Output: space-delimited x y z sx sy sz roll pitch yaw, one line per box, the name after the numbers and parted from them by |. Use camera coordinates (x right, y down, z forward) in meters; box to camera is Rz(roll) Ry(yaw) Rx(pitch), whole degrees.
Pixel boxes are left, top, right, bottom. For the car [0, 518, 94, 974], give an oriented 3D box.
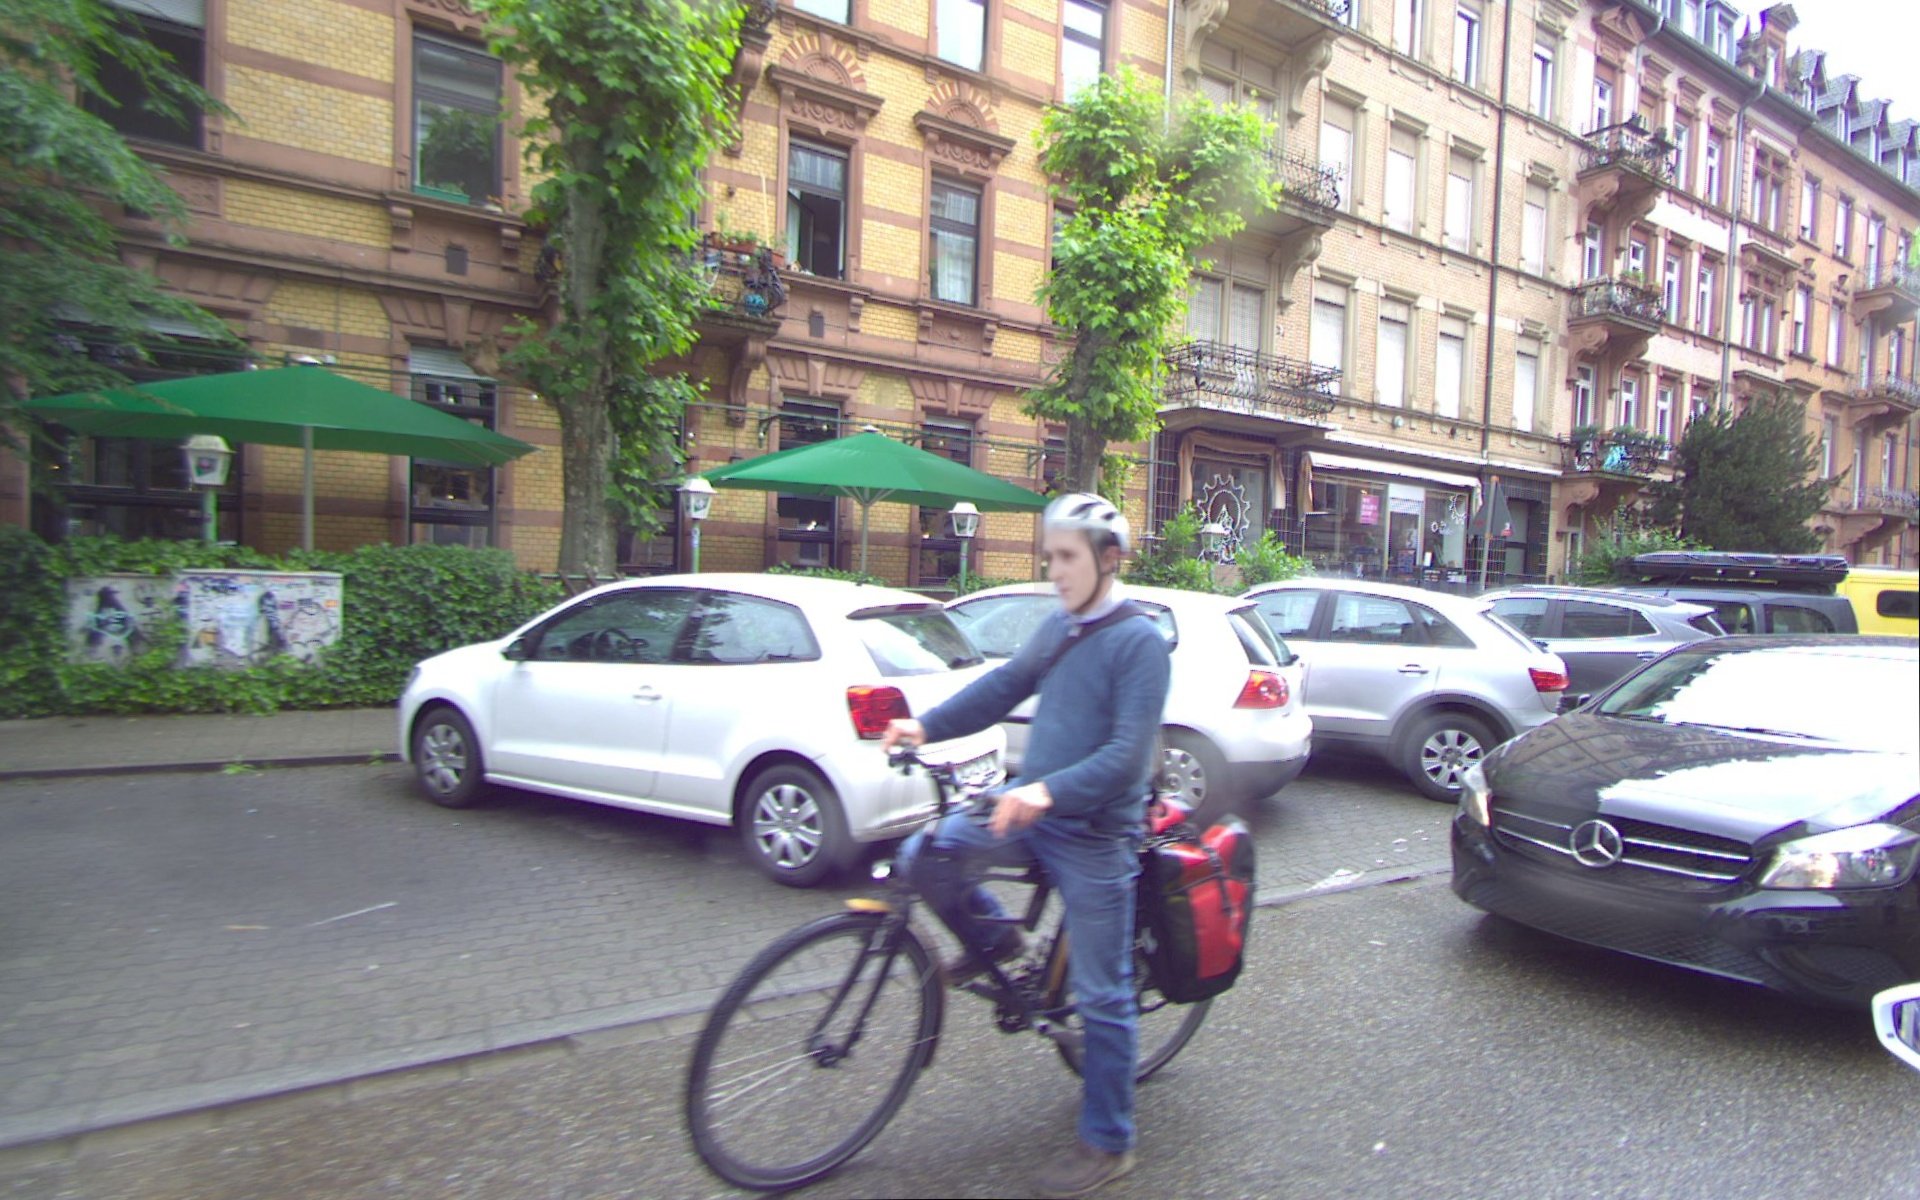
-5.603 0.344 3.626 4.373 1.584 1.999 4 1 23 | car

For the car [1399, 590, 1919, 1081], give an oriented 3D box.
4.241 0.842 4.960 4.093 1.513 1.786 4 -2 -32 | car

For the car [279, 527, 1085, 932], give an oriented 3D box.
-1.790 0.469 6.251 4.636 1.584 1.998 5 4 25 | car

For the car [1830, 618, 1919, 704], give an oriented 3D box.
18.306 1.160 17.879 3.929 1.455 1.780 3 1 31 | car

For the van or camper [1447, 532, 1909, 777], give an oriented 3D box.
8.108 0.504 11.909 4.009 2.269 1.935 5 2 27 | van or camper

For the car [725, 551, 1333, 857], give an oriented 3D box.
0.501 0.576 7.479 4.060 1.513 1.800 5 2 24 | car

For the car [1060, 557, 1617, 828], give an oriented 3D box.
3.148 0.631 8.868 4.059 1.684 1.800 5 3 23 | car

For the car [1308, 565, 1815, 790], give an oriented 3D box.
5.871 0.657 10.400 4.059 1.684 1.800 5 2 23 | car

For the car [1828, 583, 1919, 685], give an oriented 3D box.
22.002 0.819 21.298 5.166 2.106 1.864 3 1 35 | car

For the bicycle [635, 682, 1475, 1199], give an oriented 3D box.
0.369 0.895 2.681 2.245 1.196 0.765 0 1 -33 | bicycle

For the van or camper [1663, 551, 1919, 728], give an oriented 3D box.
13.370 0.555 14.690 4.639 2.298 2.182 4 3 27 | van or camper

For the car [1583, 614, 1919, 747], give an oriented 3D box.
10.561 0.969 13.161 3.926 1.515 1.825 0 0 28 | car
